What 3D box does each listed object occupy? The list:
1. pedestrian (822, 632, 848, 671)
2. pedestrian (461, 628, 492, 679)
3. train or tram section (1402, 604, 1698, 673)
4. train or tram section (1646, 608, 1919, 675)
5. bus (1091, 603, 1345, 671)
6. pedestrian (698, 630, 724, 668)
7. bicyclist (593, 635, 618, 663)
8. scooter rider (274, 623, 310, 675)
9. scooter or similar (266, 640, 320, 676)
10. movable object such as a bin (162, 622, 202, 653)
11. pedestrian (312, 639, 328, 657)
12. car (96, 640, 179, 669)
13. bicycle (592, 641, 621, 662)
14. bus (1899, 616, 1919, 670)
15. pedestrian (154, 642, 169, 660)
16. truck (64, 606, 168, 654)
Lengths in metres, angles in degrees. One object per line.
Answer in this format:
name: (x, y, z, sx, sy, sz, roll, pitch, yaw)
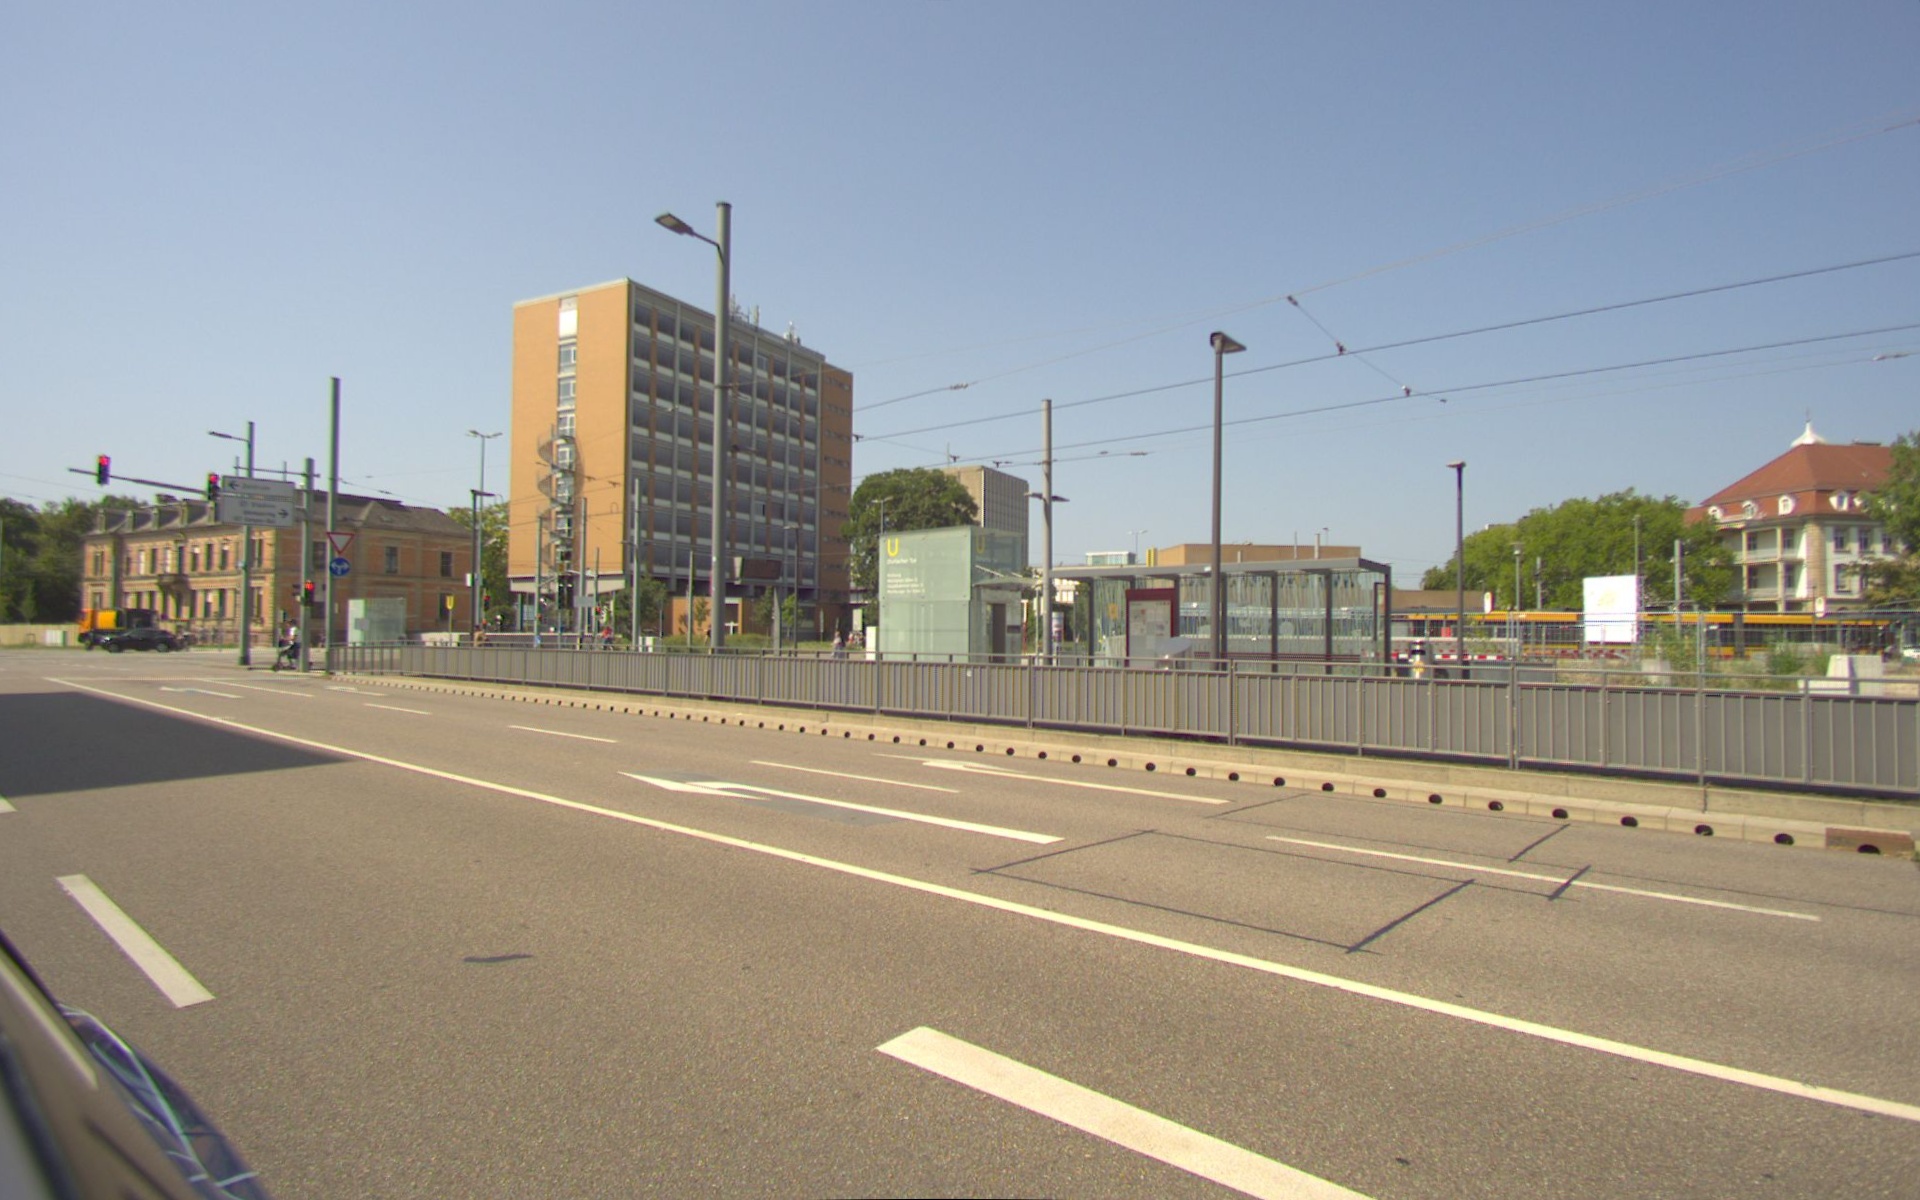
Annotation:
pedestrian: (-5.921, 2.435, 48.075, 0.959, 1.793, 0.774, -1, -2, 44)
pedestrian: (-16.342, 1.814, 34.193, 0.796, 1.672, 0.570, -3, -4, 23)
train or tram section: (36.709, 2.478, 63.343, 16.419, 3.951, 4.067, 1, -4, -4)
train or tram section: (53.143, 2.726, 64.539, 16.419, 3.951, 4.067, 1, -4, -4)
bus: (13.362, 1.962, 53.027, 12.572, 3.356, 2.678, 1, -2, -2)
pedestrian: (-11.802, 2.307, 47.886, 0.959, 1.793, 0.774, -1, -2, 44)
bicyclist: (-18.769, 2.583, 53.589, 0.980, 1.470, 0.865, -1, -4, 45)
scooter rider: (-22.032, 1.602, 33.391, 0.779, 1.686, 0.763, -2, -3, 41)
scooter or similar: (-22.008, 1.891, 33.399, 0.709, 1.157, 1.324, -2, -3, 41)
movable object such as a bin: (-67.912, 3.274, 88.313, 4.452, 2.692, 1.794, -2, -3, 40)
pedestrian: (-49.668, 3.712, 78.573, 0.787, 1.405, 0.836, -2, -3, 43)
car: (-53.723, 3.568, 66.202, 3.931, 1.808, 2.006, 1, -4, -30)
bicycle: (-18.691, 2.714, 53.475, 1.914, 1.077, 0.606, -1, -3, 45)
bus: (60.219, 2.297, 57.282, 12.246, 3.055, 2.545, -1, -4, -5)
pedestrian: (-61.147, 3.894, 77.514, 0.803, 1.362, 0.720, 3, -4, -41)
truck: (-61.718, 2.260, 73.997, 7.147, 3.254, 3.017, -3, -4, 24)
